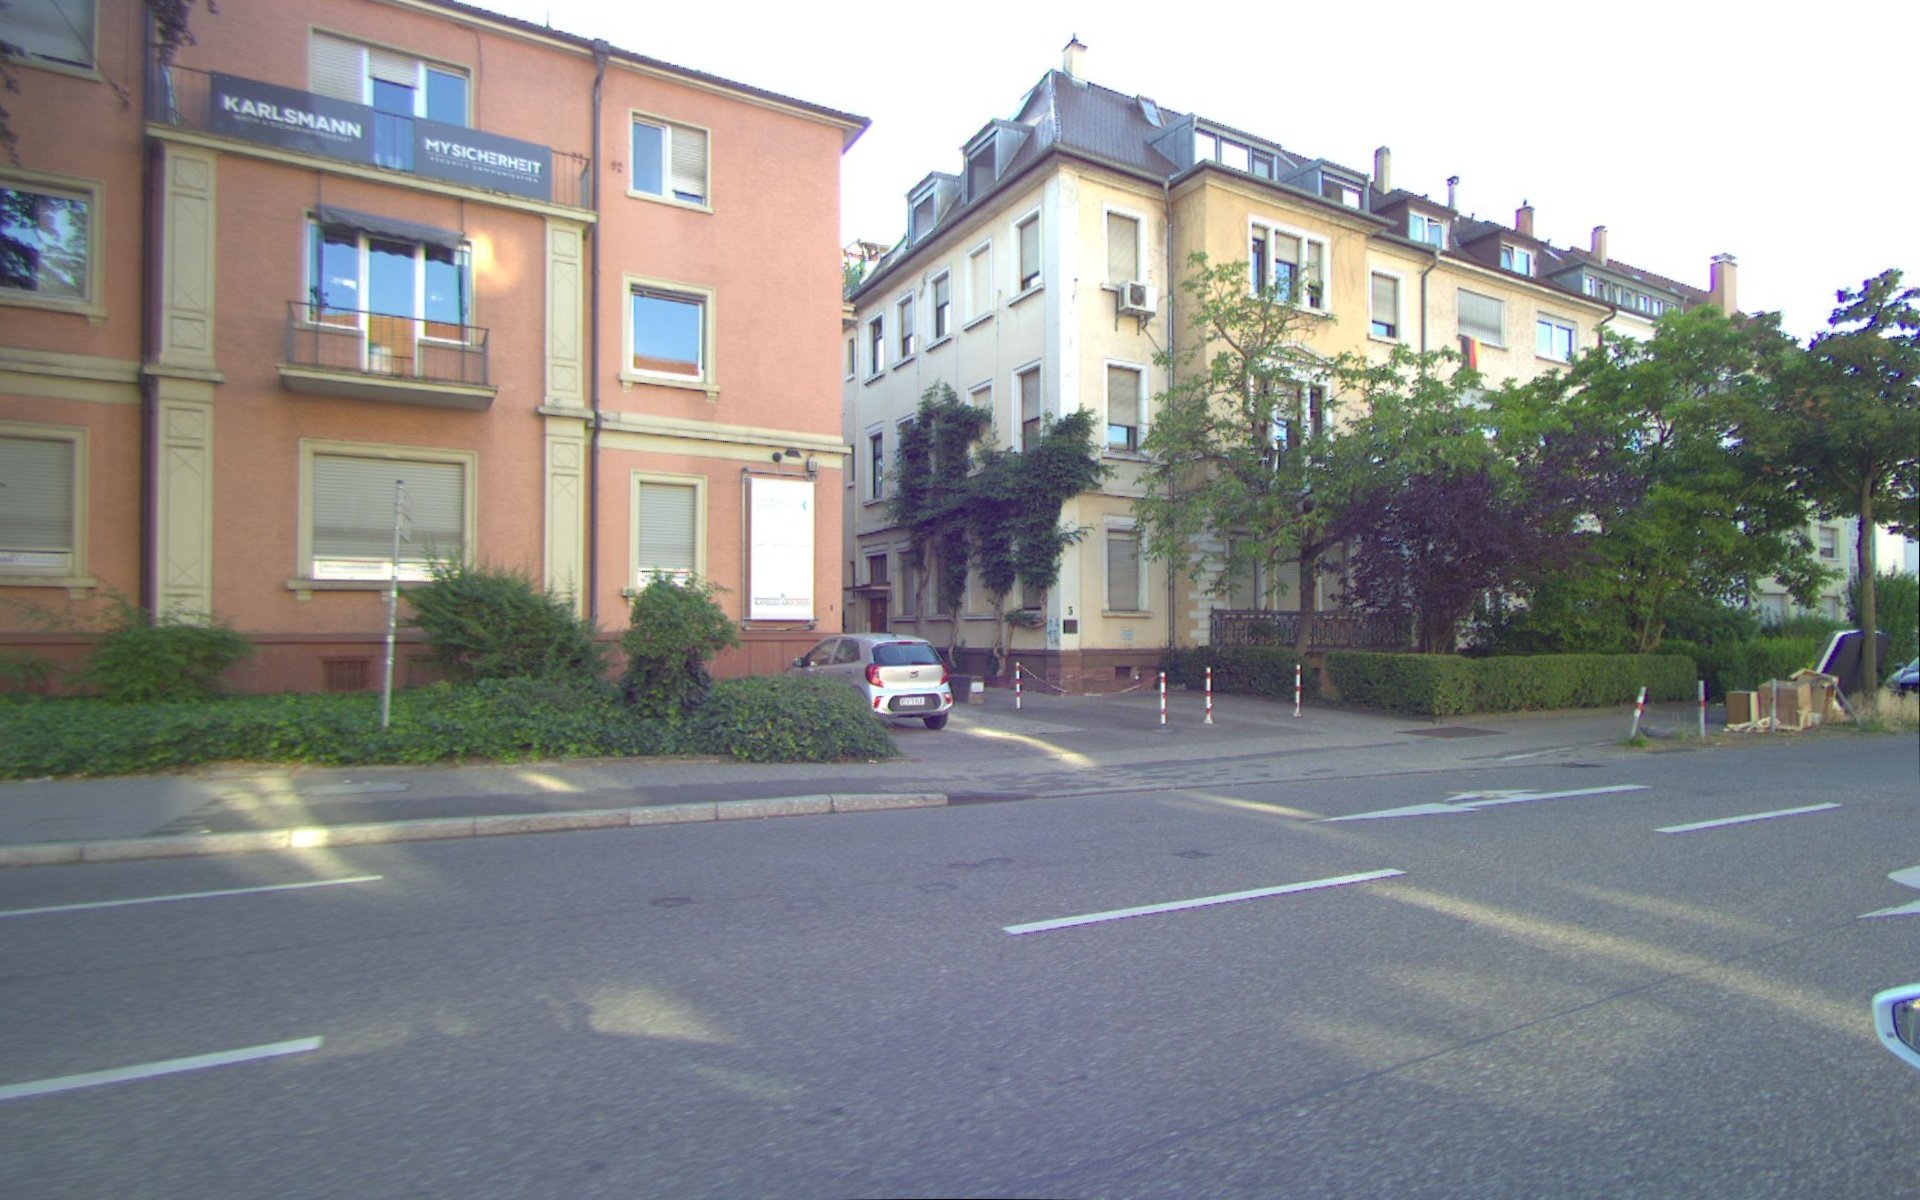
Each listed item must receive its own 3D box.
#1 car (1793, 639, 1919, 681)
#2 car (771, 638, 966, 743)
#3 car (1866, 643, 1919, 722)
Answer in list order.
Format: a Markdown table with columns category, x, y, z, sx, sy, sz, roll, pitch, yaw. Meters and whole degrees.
| category | x | y | z | sx | sy | sz | roll | pitch | yaw |
| --- | --- | --- | --- | --- | --- | --- | --- | --- | --- |
| car | 32.654 | 2.095 | 35.522 | 1.985 | 1.380 | 4.668 | 1 | -2 | -42 |
| car | -1.604 | 1.383 | 16.544 | 1.796 | 1.505 | 3.477 | 1 | -2 | -33 |
| car | 20.734 | 1.670 | 20.800 | 4.147 | 1.522 | 1.742 | 1 | -2 | -30 |
